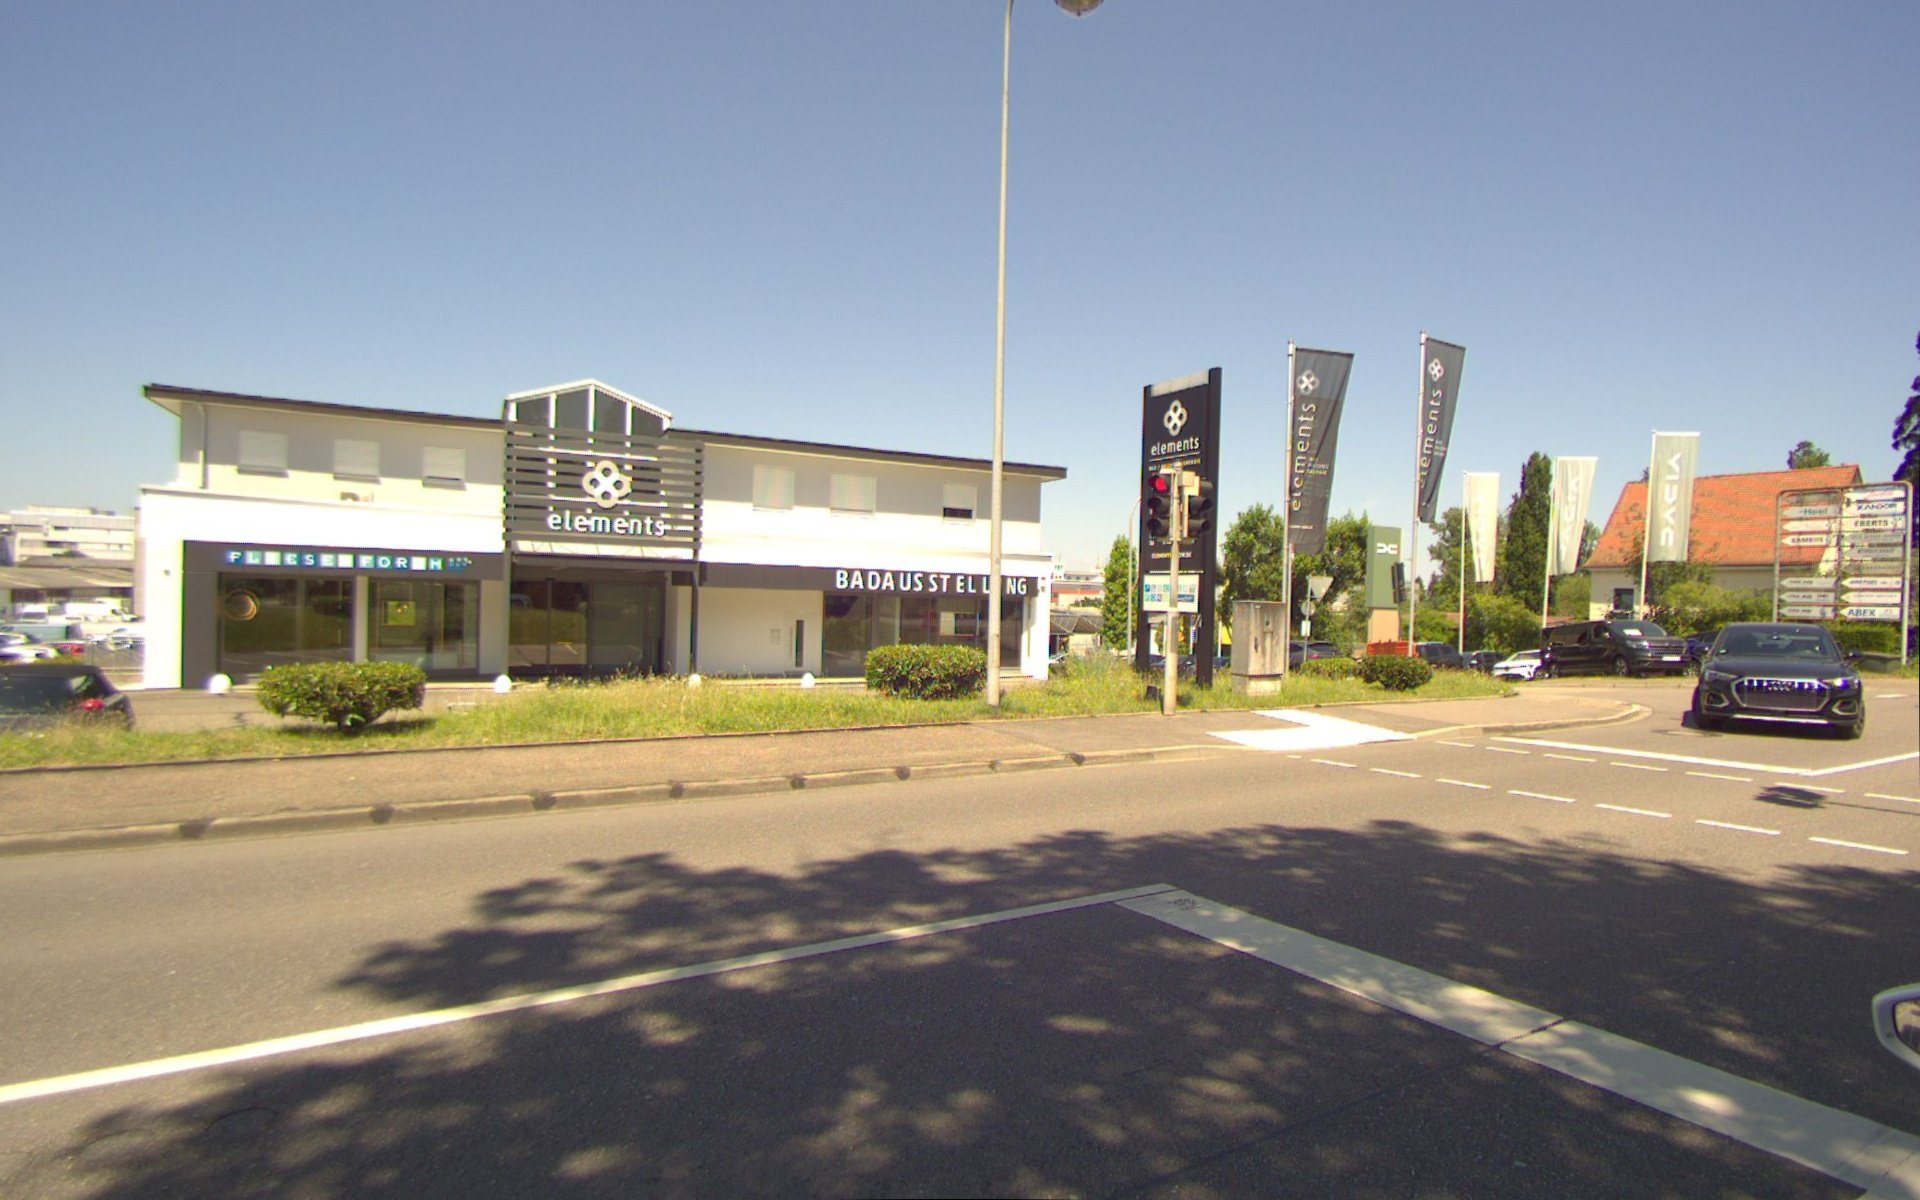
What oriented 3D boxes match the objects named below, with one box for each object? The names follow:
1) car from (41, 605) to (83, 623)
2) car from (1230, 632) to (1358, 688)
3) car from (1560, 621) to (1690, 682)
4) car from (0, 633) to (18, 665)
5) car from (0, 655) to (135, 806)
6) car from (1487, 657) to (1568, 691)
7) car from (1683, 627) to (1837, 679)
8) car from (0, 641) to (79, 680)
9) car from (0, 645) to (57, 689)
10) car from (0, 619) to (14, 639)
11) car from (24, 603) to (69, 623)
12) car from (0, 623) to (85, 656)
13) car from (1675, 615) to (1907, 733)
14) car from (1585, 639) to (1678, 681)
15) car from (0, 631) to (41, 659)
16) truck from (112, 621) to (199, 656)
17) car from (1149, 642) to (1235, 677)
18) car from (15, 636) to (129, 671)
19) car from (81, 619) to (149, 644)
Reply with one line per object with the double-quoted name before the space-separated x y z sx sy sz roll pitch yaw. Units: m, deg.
"car" -85.172 1.344 95.286 1.975 1.617 3.972 1 -1 -27
"car" 12.000 2.134 36.371 1.862 1.740 4.279 2 0 -28
"car" 21.070 1.589 31.892 1.561 1.736 3.119 2 0 -40
"car" -52.460 2.553 52.778 3.953 1.627 1.823 2 0 -30
"car" -11.503 1.465 12.002 1.756 1.442 3.327 1 0 -26
"car" 23.605 3.048 41.770 3.211 1.242 1.735 1 0 -35
"car" 24.763 1.610 31.177 1.586 1.446 3.466 2 -1 -36
"car" -42.488 2.742 45.584 3.427 1.613 1.712 2 0 -30
"car" -40.892 2.826 42.408 3.773 1.750 1.738 2 0 -30
"car" -73.396 2.139 75.424 3.090 1.403 1.672 2 0 -30
"car" -90.083 1.250 99.119 1.972 1.853 3.977 2 0 -23
"car" -54.907 2.339 59.770 3.953 1.839 1.984 2 -1 -30
"car" 12.711 1.081 15.285 4.270 1.546 1.907 3 -3 -39
"car" 25.511 2.261 38.189 1.330 1.446 2.640 2 -1 -32
"car" -54.760 2.536 56.654 3.953 1.494 1.742 2 0 -30
"truck" -49.719 2.378 62.193 3.938 2.003 1.672 2 0 -31
"car" 11.027 2.816 47.921 1.736 1.432 3.967 2 0 -30
"car" -44.776 2.712 50.768 3.953 1.657 1.835 2 -1 -30
"car" -55.778 2.088 66.361 3.090 1.553 1.672 2 0 -30
